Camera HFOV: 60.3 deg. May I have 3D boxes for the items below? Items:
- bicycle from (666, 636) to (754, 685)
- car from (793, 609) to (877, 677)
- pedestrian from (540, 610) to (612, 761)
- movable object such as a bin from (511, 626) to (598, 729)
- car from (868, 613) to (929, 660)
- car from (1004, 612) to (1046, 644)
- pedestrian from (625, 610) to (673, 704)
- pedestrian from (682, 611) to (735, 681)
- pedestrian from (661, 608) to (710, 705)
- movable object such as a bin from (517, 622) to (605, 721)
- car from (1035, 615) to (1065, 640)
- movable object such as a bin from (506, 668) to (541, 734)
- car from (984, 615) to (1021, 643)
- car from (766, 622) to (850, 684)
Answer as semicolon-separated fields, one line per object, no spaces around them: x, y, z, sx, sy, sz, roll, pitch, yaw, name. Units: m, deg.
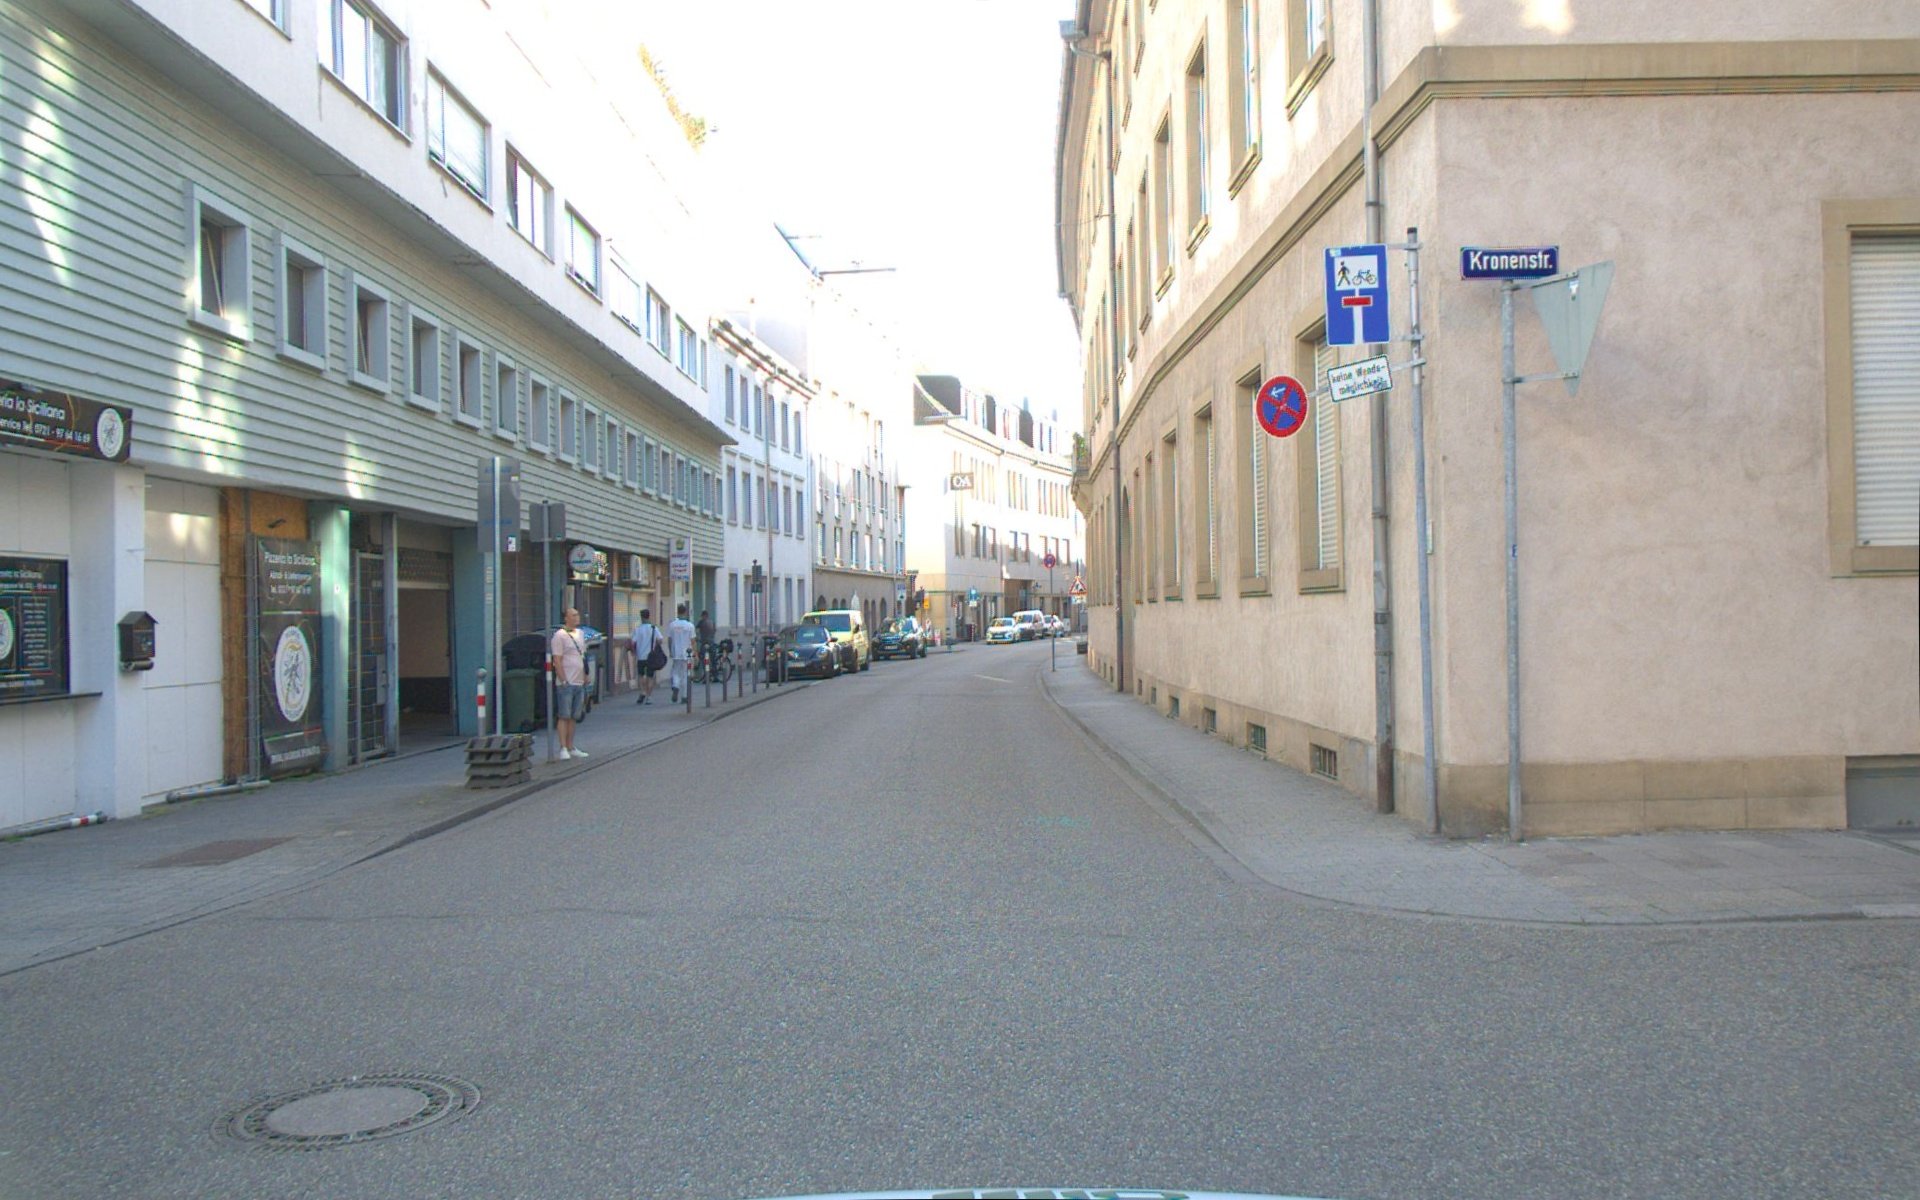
-6.389;1.539;42.254;2.086;1.183;0.823;-2;-1;25;bicycle
-3.839;1.306;51.548;1.841;1.899;4.866;-4;-1;3;car
-4.441;0.974;19.137;0.485;1.699;0.624;0;-1;43;pedestrian
-6.328;1.191;25.886;0.948;1.497;1.474;-2;1;0;movable object such as a bin
-2.467;1.465;67.656;1.703;1.740;4.193;-4;-1;7;car
4.110;1.745;103.831;1.635;1.850;4.555;-3;-1;14;car
-5.817;1.056;30.965;0.658;1.699;0.895;-2;-1;2;pedestrian
-6.426;1.173;42.276;1.056;1.759;0.801;-2;-1;24;pedestrian
-5.146;1.052;31.024;0.683;1.765;0.829;-3;-1;2;pedestrian
-6.573;1.161;27.326;1.099;1.547;1.342;-2;0;0;movable object such as a bin
5.977;1.841;109.803;1.244;1.533;3.404;-3;-1;15;car
-6.561;1.518;24.872;0.385;0.959;0.467;-2;0;0;movable object such as a bin
2.553;1.705;98.134;1.635;1.533;3.797;-3;-1;9;car
-4.192;1.444;46.121;1.781;1.512;4.077;-4;-1;1;car
